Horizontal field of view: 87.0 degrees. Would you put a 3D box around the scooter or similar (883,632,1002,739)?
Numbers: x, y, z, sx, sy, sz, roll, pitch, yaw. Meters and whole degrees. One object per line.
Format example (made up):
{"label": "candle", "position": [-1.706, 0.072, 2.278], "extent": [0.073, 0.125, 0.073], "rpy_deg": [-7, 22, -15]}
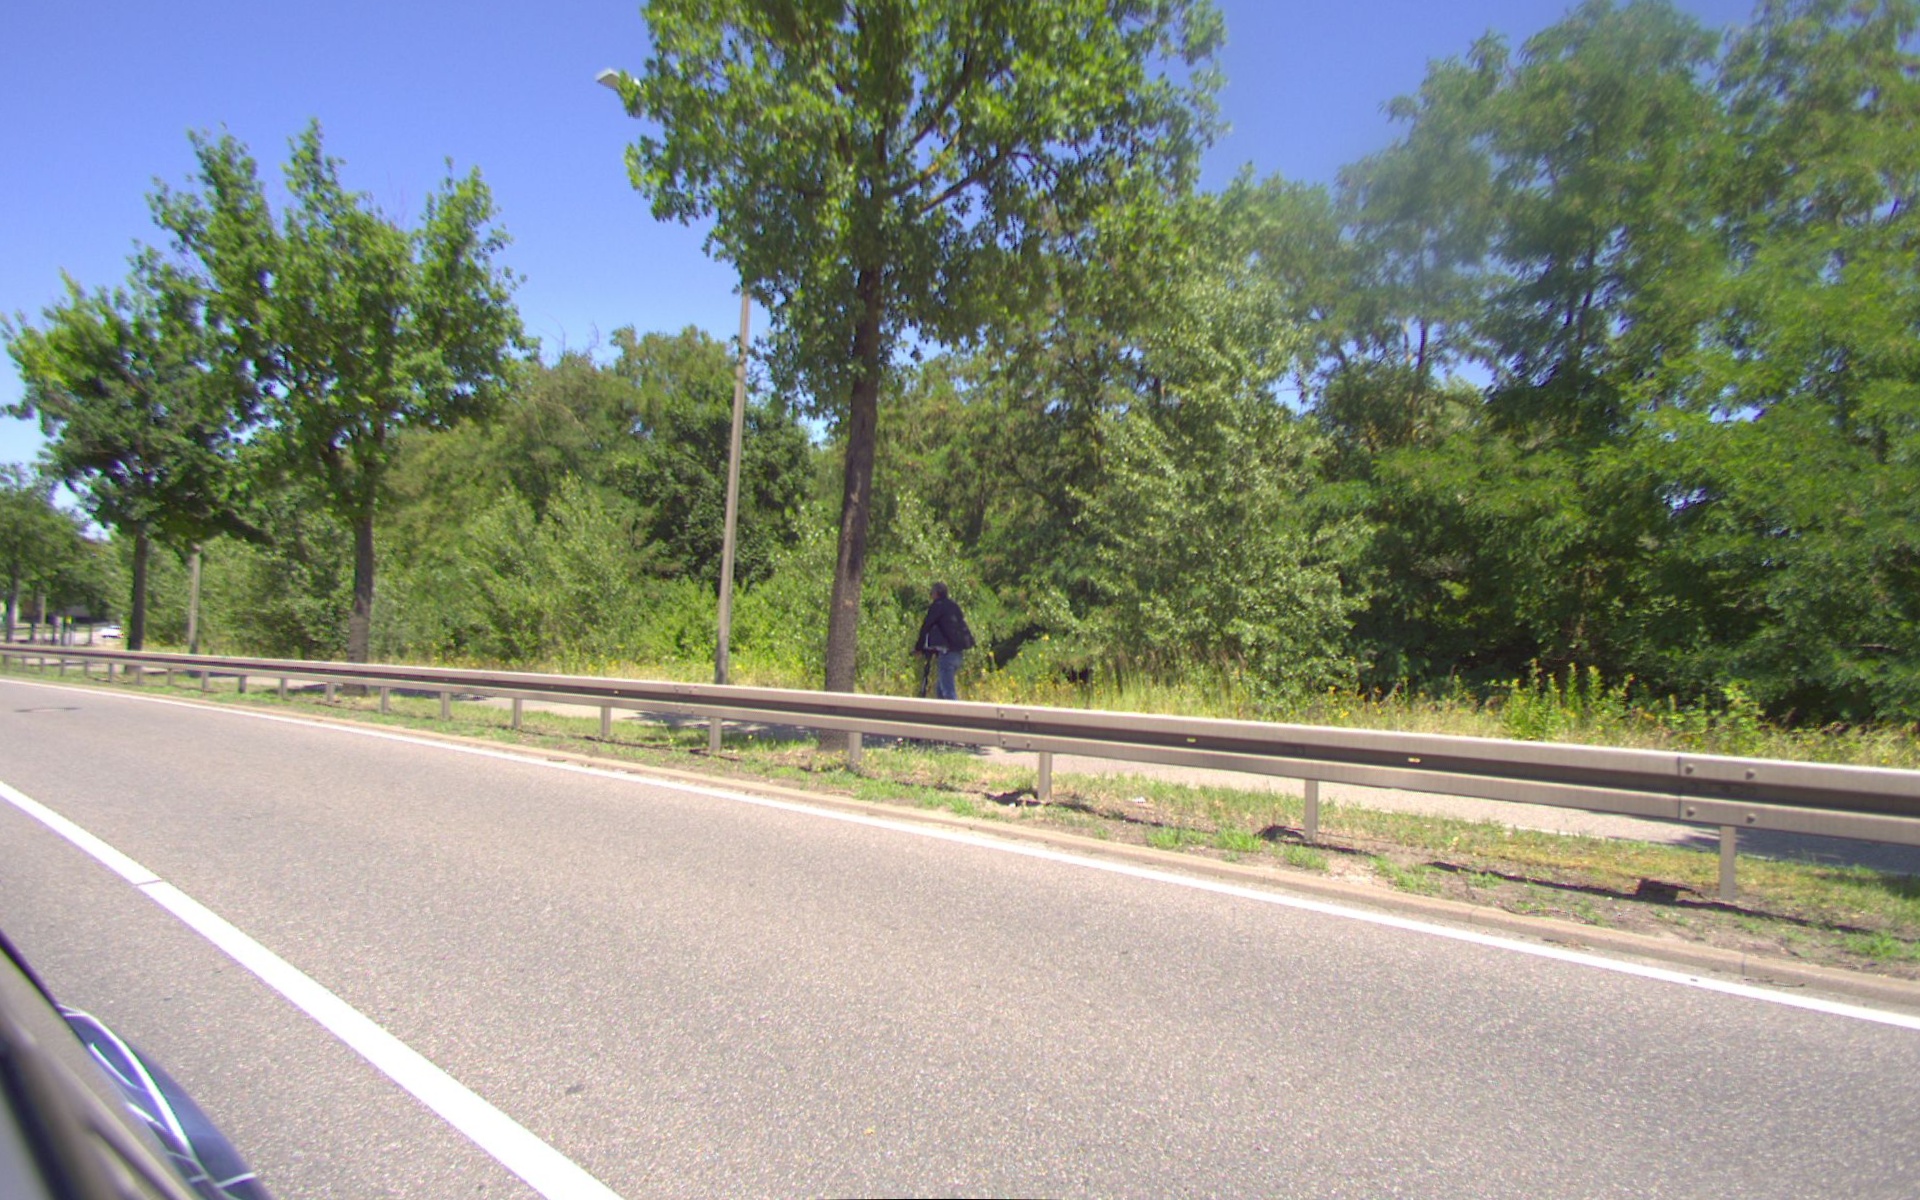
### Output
{"label": "scooter or similar", "position": [-0.200, 0.919, 11.283], "extent": [1.094, 1.099, 0.769], "rpy_deg": [-1, -1, 40]}

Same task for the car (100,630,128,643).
{"label": "car", "position": [-103.722, 4.460, 124.077], "extent": [1.751, 1.454, 4.013], "rpy_deg": [0, 0, -27]}

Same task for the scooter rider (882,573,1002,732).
{"label": "scooter rider", "position": [-0.207, 0.556, 11.310], "extent": [1.120, 1.670, 0.769], "rpy_deg": [-1, -1, 40]}
